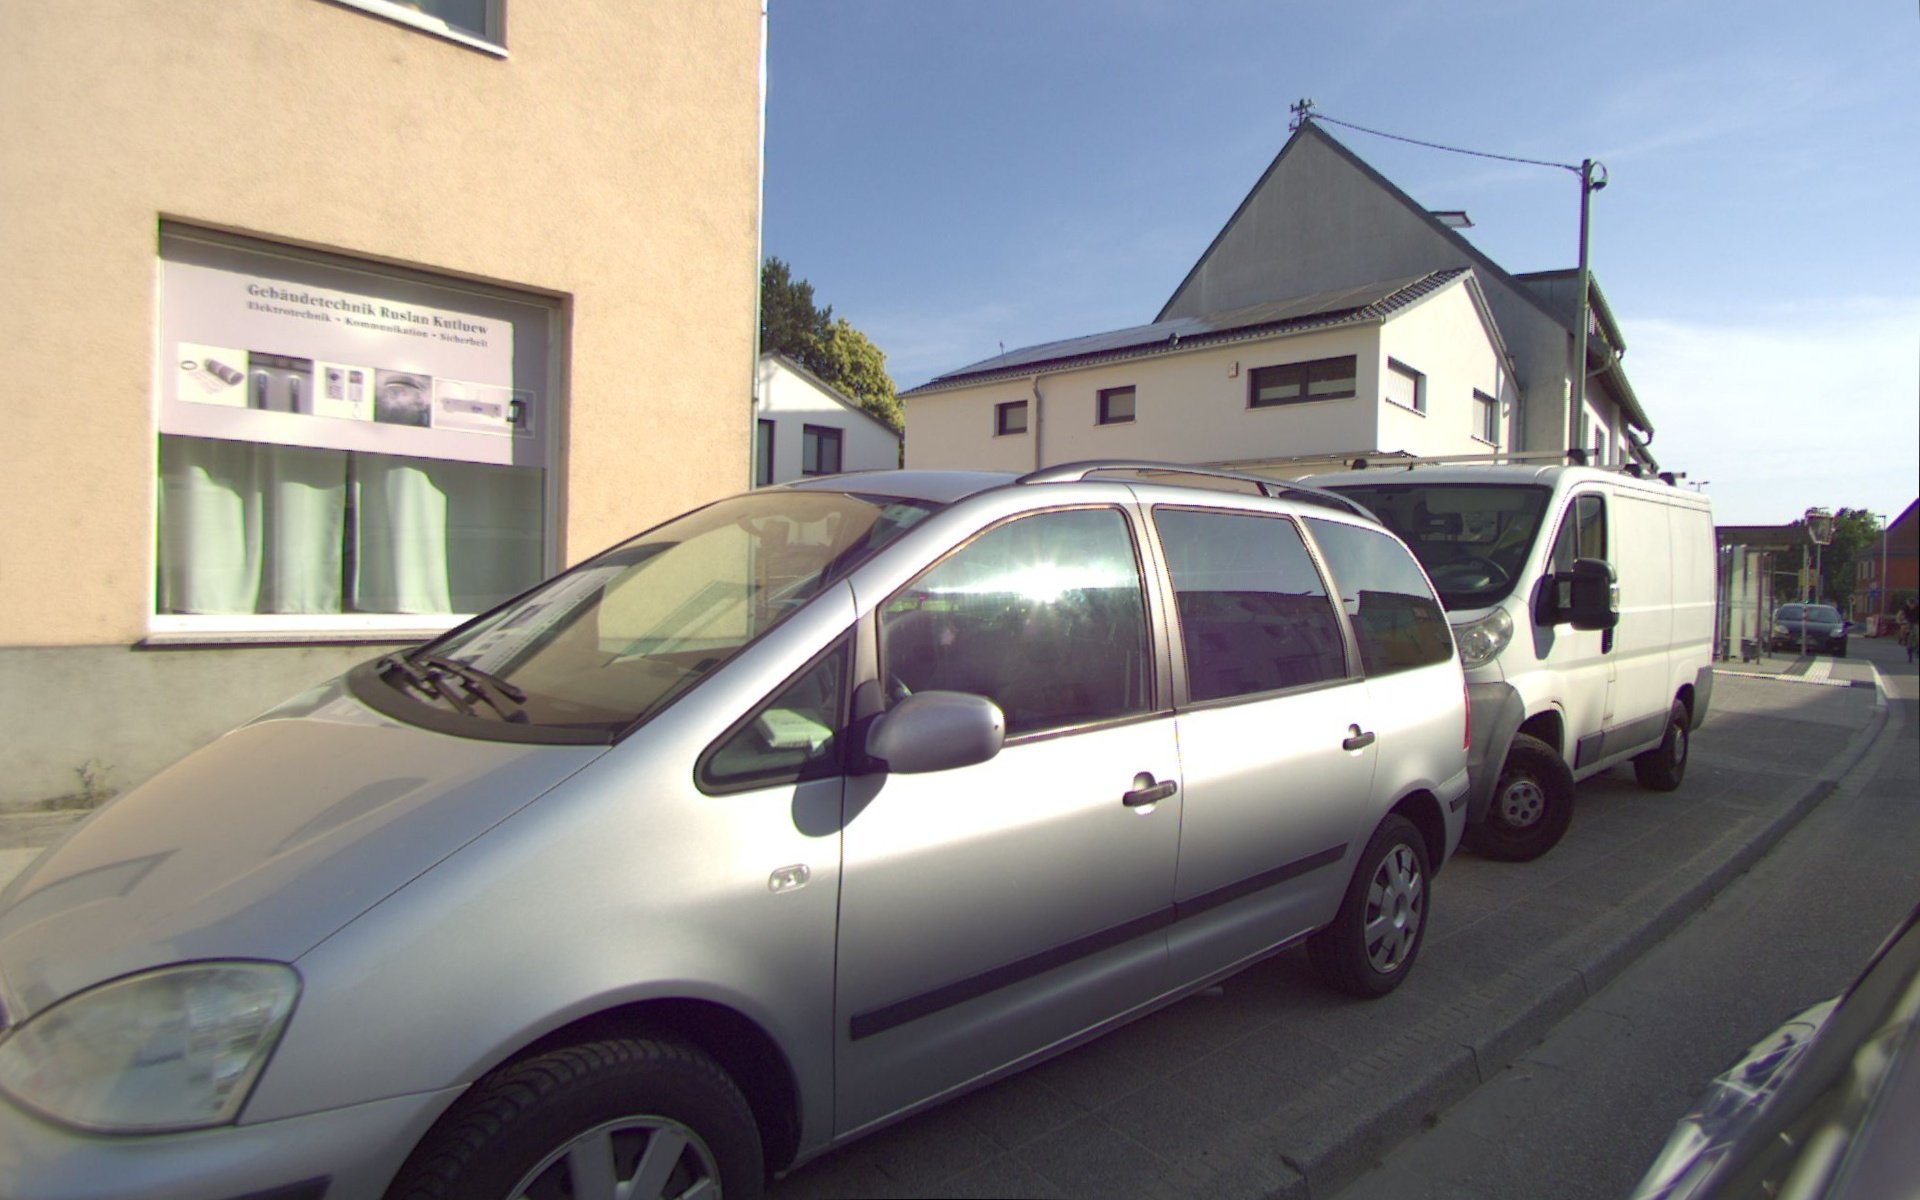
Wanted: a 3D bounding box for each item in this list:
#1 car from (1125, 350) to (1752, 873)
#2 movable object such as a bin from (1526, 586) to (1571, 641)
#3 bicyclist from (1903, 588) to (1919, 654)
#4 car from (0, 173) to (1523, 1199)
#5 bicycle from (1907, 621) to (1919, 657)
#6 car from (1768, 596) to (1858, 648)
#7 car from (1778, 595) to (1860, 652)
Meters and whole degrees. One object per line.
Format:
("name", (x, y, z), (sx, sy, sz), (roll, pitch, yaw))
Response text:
("car", (3.581, 0.012, 7.034), (4.912, 2.356, 2.178), (0, 2, -42))
("movable object such as a bin", (12.481, 0.279, 21.464), (0.696, 1.107, 0.550), (3, 2, 44))
("bicyclist", (25.287, 0.543, 26.464), (0.842, 1.711, 0.865), (1, 0, 40))
("car", (-0.109, 0.381, 3.097), (4.405, 1.762, 1.781), (0, 3, -41))
("bicycle", (25.219, 1.016, 26.364), (0.677, 0.865, 1.998), (1, 1, 40))
("car", (27.229, 0.654, 32.430), (1.710, 1.415, 4.279), (6, 3, 35))
("car", (24.199, 0.607, 28.610), (1.605, 1.438, 3.865), (3, 2, 39))
